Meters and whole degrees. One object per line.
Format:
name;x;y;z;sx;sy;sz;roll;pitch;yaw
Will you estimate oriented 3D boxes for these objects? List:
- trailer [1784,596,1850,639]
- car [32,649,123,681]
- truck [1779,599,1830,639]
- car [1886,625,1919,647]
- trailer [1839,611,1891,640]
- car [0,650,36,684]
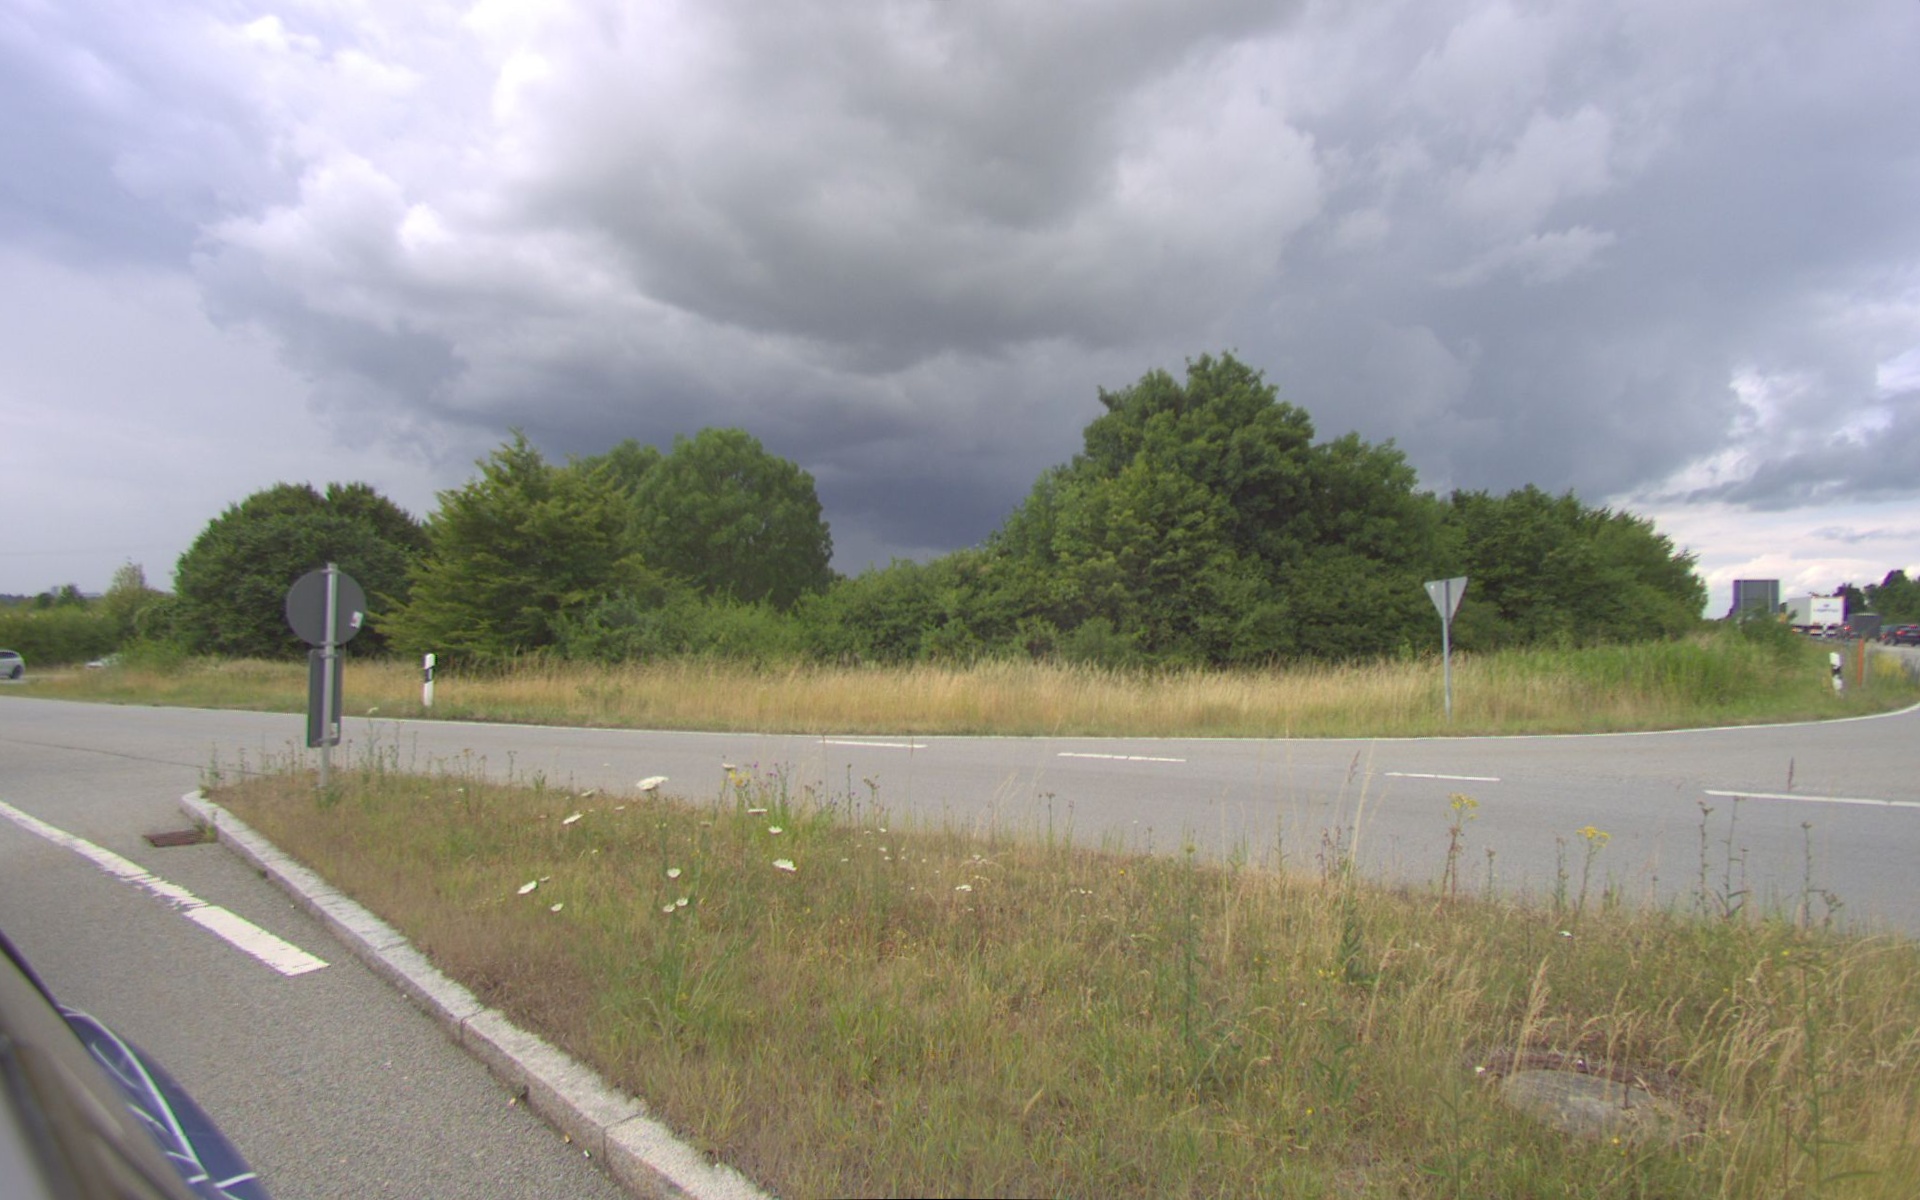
trailer;86.819;1.835;102.732;3.119;4.044;13.734;1;-1;32
car;-54.655;4.003;62.834;1.967;1.732;5.222;3;-3;-13
truck;90.361;2.014;108.381;3.119;4.044;7.227;1;-1;32
car;67.684;2.596;71.909;1.994;1.498;4.254;0;-2;32
trailer;75.404;2.114;84.399;2.408;2.310;4.349;1;-1;31
car;-53.243;3.690;55.081;1.967;1.732;5.222;3;-3;-13
